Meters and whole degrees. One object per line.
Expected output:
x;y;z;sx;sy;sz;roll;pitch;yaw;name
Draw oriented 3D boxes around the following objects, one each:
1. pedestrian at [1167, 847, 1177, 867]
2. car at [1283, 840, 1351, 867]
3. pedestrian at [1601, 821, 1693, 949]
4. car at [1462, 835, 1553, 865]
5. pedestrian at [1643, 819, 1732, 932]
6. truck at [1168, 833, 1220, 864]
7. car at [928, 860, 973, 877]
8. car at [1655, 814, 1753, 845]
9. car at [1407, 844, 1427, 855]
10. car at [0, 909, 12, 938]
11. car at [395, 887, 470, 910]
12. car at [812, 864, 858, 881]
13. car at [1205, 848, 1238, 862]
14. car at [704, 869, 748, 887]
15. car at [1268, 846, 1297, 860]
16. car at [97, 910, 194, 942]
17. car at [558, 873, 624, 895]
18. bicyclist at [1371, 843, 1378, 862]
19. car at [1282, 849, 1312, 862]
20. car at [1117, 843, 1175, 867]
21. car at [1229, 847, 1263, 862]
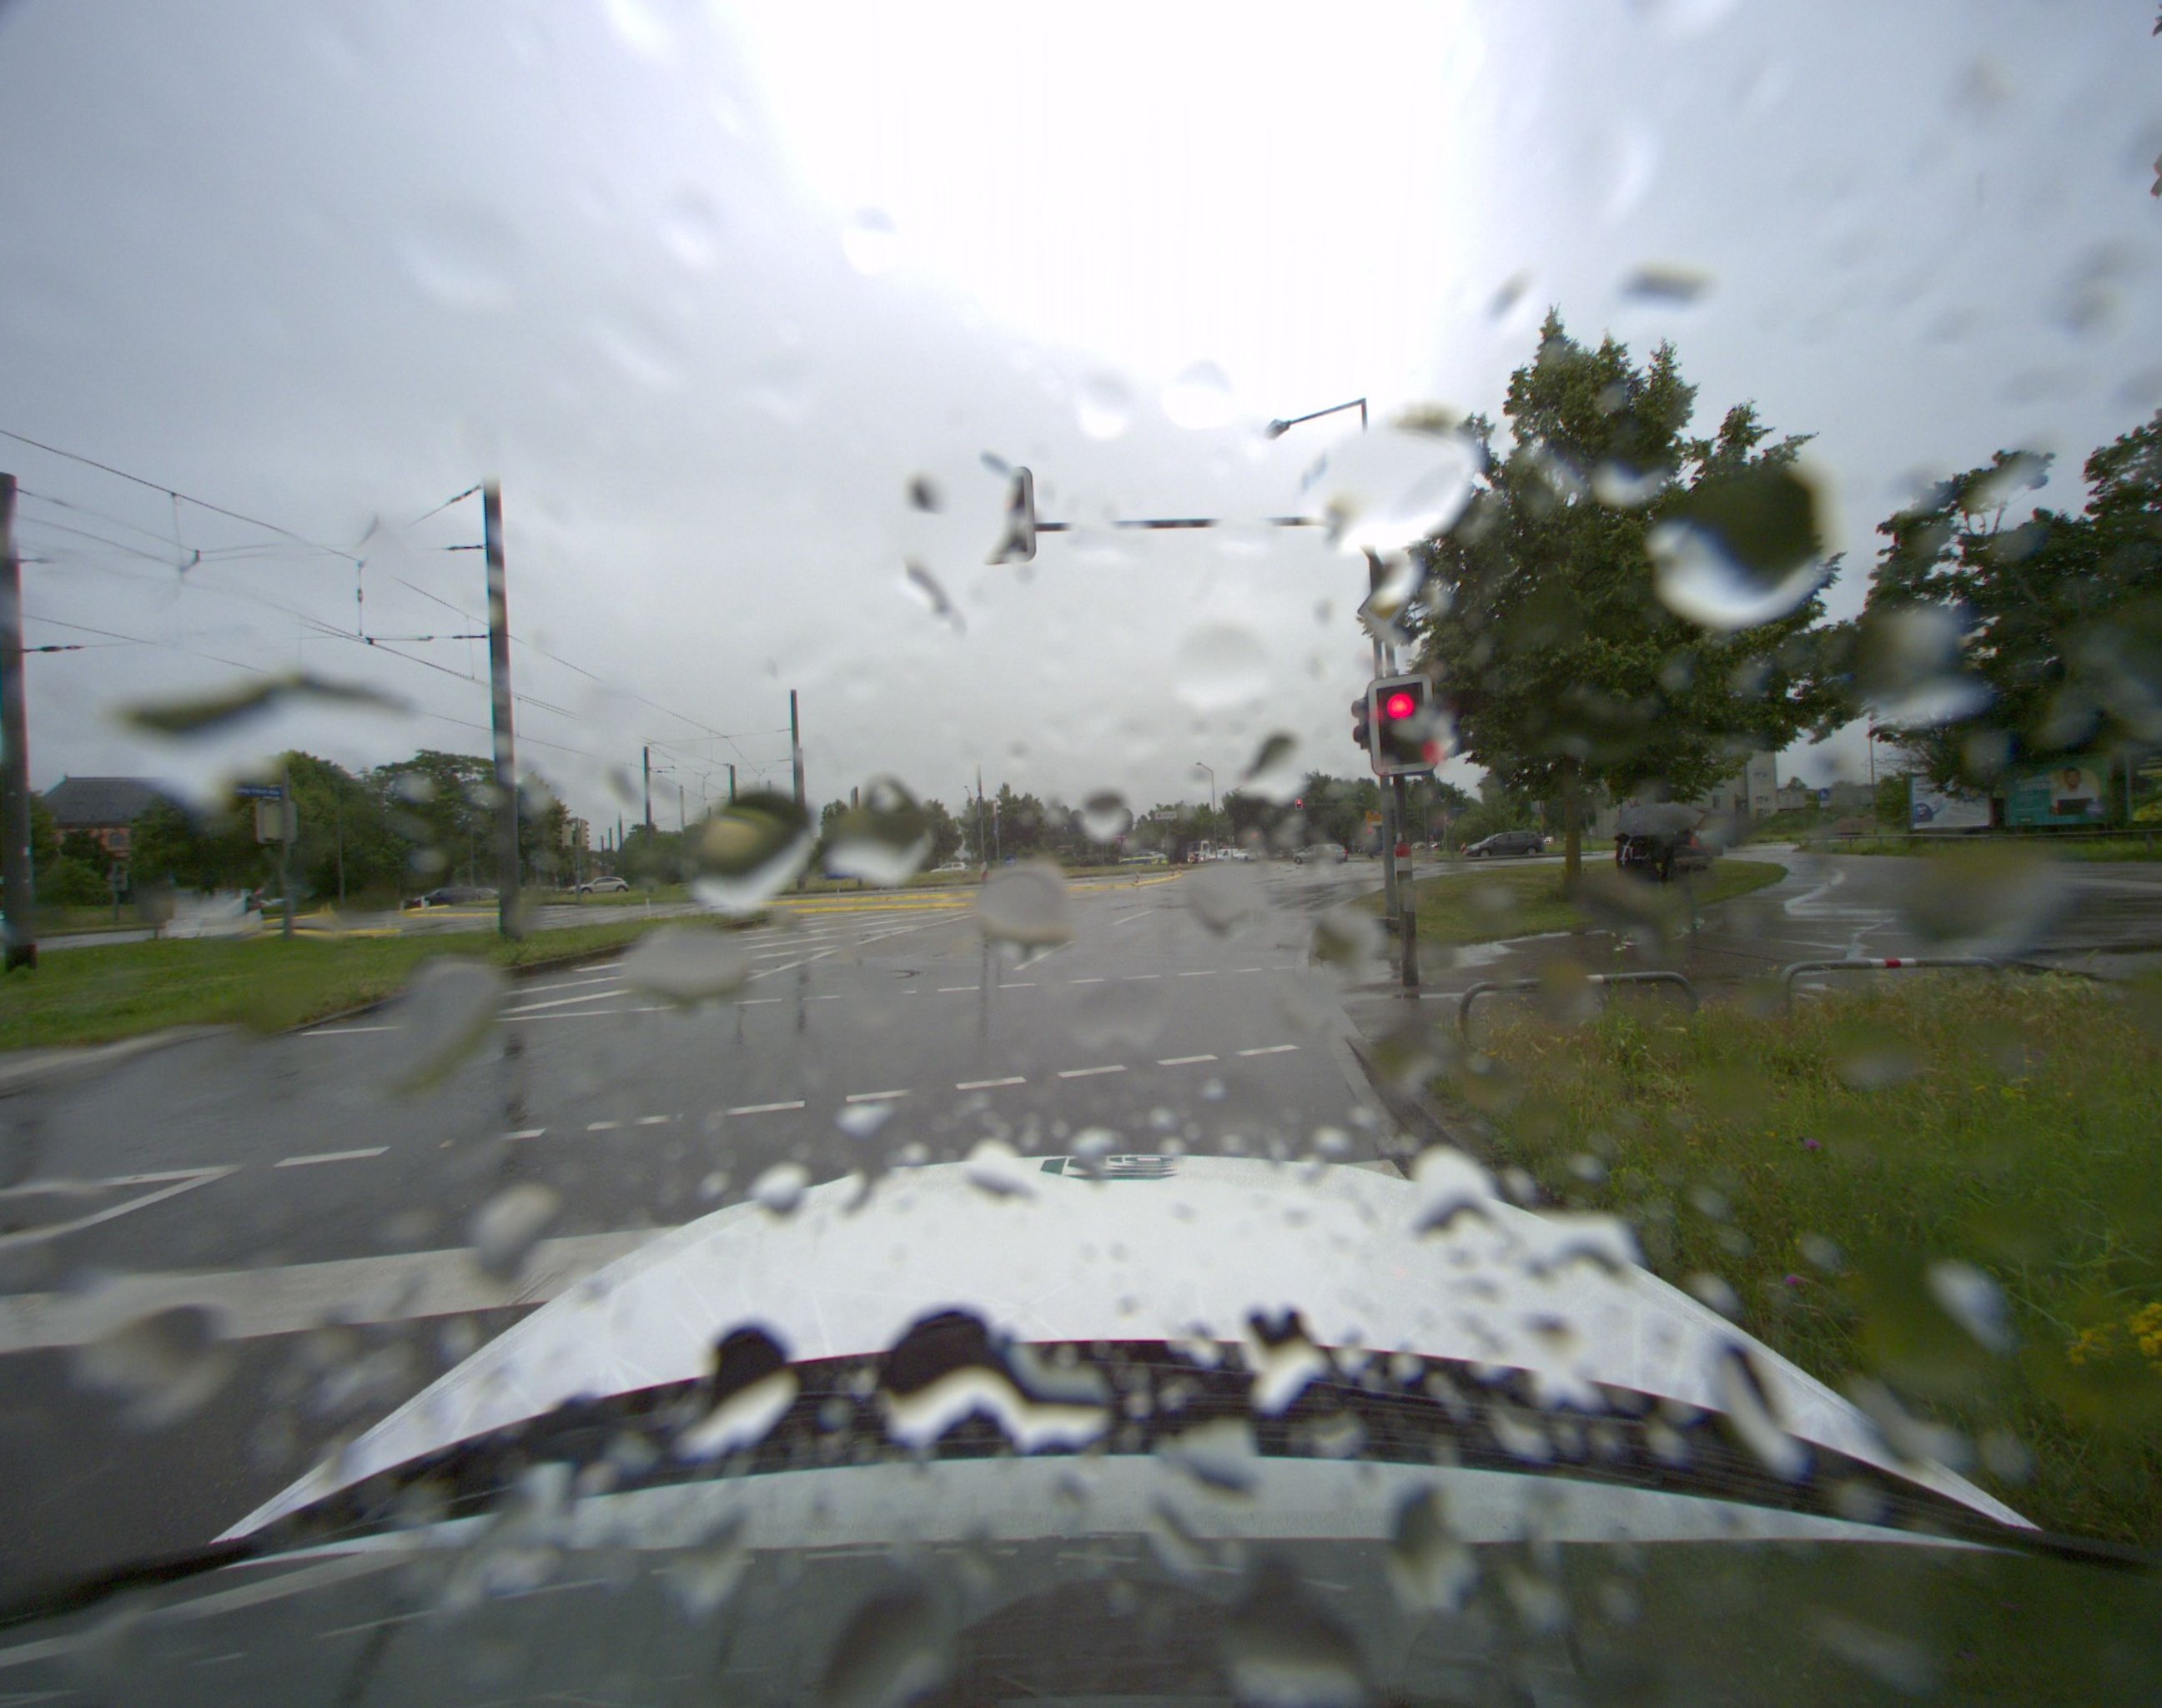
6.061;0.215;54.375;0.448;1.304;0.489;-3;-1;40;pedestrian
17.264;0.008;59.870;2.006;1.851;4.728;0;-1;-31;car
7.012;0.368;10.125;0.619;1.522;0.741;-1;0;0;pedestrian
27.030;-0.233;51.776;4.732;1.851;2.005;0;-1;9;car
8.264;0.289;11.119;0.678;1.461;0.573;-3;-1;-3;pedestrian
10.394;-0.422;74.167;2.439;2.686;8.105;-1;-1;25;truck
-12.677;1.430;78.999;3.951;1.454;1.627;-2;0;8;car
39.404;-1.542;51.588;4.745;1.851;1.999;0;-1;-1;car
55.942;-0.767;135.694;1.779;1.662;4.024;-1;-1;43;car
-57.084;3.625;40.471;1.603;1.454;4.652;-3;0;41;car
-48.098;3.277;60.507;1.604;1.454;4.009;-2;0;22;car
-24.144;1.797;80.006;3.971;1.454;1.619;-2;0;-8;car
16.574;0.144;96.046;1.779;1.662;4.159;-1;-1;43;car
-37.361;2.478;85.847;1.660;1.816;4.025;-1;-1;31;car
26.692;-0.167;107.962;1.779;1.662;4.437;-3;0;43;car
-53.511;4.070;46.617;1.601;1.543;3.505;-1;-1;36;car
-38.955;2.383;64.827;1.602;1.454;4.139;-3;0;36;car
26.635;-0.136;73.944;0.490;1.742;0.594;-1;-1;25;bicyclist
27.424;0.216;103.440;1.779;1.662;4.436;-1;-1;43;car
5.416;0.079;68.589;2.011;1.851;4.718;-2;0;-41;car
19.106;0.102;94.326;1.779;1.662;4.436;-1;-1;43;car
